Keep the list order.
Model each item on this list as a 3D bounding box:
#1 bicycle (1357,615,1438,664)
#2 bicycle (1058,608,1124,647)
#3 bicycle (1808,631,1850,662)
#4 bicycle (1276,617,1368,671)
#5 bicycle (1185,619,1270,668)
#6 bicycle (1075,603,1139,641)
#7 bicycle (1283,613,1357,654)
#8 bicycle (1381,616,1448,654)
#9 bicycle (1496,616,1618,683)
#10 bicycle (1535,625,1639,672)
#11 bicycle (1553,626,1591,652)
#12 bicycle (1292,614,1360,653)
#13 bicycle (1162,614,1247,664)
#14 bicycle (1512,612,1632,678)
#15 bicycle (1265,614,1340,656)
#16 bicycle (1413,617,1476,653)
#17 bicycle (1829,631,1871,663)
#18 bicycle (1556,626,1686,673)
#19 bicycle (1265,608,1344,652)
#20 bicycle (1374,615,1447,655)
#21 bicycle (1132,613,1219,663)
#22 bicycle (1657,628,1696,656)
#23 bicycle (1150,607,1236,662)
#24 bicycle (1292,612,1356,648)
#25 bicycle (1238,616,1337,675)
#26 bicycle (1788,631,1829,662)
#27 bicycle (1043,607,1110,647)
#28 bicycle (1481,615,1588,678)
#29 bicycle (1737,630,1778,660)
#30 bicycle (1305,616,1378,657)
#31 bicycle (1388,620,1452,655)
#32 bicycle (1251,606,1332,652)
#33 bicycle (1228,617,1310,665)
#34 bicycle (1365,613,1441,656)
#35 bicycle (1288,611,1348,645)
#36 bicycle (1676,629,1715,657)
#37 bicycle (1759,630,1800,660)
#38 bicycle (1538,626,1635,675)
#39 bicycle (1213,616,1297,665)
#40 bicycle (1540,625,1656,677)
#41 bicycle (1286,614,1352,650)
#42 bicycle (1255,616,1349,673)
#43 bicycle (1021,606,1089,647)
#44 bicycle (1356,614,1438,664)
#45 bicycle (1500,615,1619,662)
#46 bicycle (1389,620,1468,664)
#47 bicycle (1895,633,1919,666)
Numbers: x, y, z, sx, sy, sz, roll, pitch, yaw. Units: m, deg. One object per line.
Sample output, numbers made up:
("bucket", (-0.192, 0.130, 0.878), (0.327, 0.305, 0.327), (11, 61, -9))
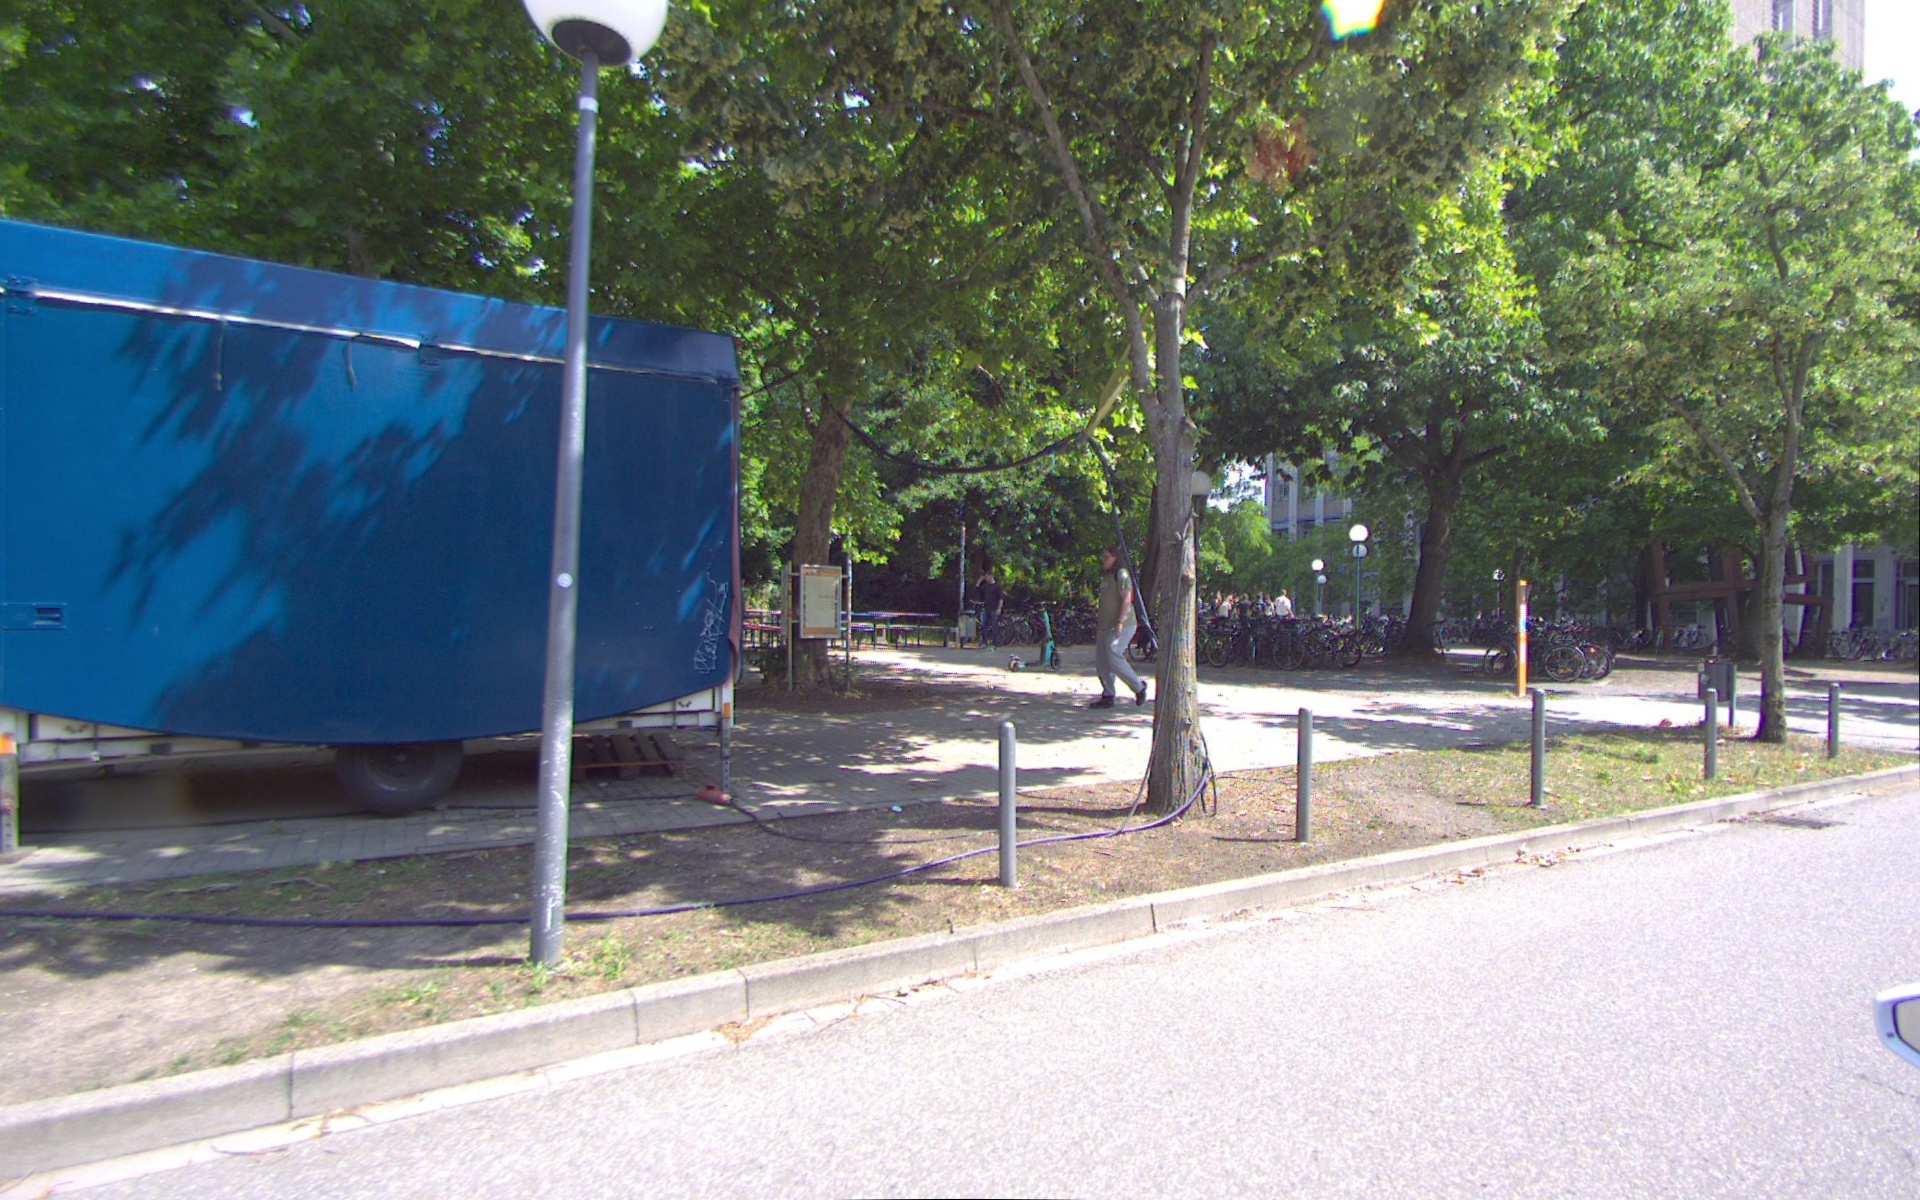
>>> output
("bicycle", (12.231, 1.091, 28.124), (2.021, 1.251, 0.639), (2, 2, 25))
("bicycle", (4.014, 0.834, 30.887), (1.927, 1.106, 0.595), (2, 0, 37))
("bicycle", (31.964, 1.712, 36.931), (1.950, 1.101, 0.549), (1, 1, -31))
("bicycle", (8.054, 0.953, 22.403), (1.832, 1.104, 0.545), (2, 1, 39))
("bicycle", (6.237, 0.992, 23.480), (0.533, 1.041, 1.944), (1, 1, -41))
("bicycle", (4.643, 0.692, 31.871), (1.927, 1.106, 0.595), (2, 0, 37))
("bicycle", (10.437, 0.964, 29.178), (1.932, 1.104, 0.546), (2, 1, 31))
("bicycle", (15.659, 1.189, 34.611), (2.021, 1.147, 0.639), (4, 2, 24))
("bicycle", (12.362, 0.987, 20.839), (2.031, 1.251, 0.804), (2, 1, 42))
("bicycle", (15.361, 1.171, 24.678), (2.115, 1.022, 0.677), (2, 1, 29))
("bicycle", (27.209, 1.735, 44.663), (1.950, 1.101, 0.549), (1, 1, -31))
("bicycle", (11.492, 1.040, 31.568), (1.932, 1.104, 0.546), (2, 1, 31))
("bicycle", (5.597, 0.879, 23.071), (0.533, 1.041, 1.944), (1, 1, -41))
("bicycle", (13.070, 0.930, 21.485), (2.031, 1.251, 0.804), (4, 2, 42))
("bicycle", (9.722, 0.985, 28.576), (1.932, 1.104, 0.546), (2, 1, 31))
("bicycle", (17.936, 1.275, 37.237), (2.021, 1.147, 0.639), (4, 2, 25))
("bicycle", (32.290, 1.711, 36.421), (1.950, 1.101, 0.549), (1, 1, -31))
("bicycle", (17.350, 1.285, 26.456), (2.696, 1.101, 0.883), (1, 1, 17))
("bicycle", (9.334, 0.804, 27.265), (1.939, 1.104, 0.544), (2, 1, 43))
("bicycle", (14.031, 1.077, 31.328), (2.021, 1.148, 0.639), (2, 1, 25))
("bicycle", (4.748, 0.826, 22.287), (0.533, 1.017, 1.944), (1, 1, -41))
("bicycle", (29.548, 1.740, 41.410), (1.950, 1.101, 0.549), (1, 1, -31))
("bicycle", (5.224, 0.753, 22.647), (0.533, 1.141, 1.944), (1, 1, -41))
("bicycle", (12.223, 0.999, 33.768), (1.932, 1.104, 0.546), (2, 1, 31))
("bicycle", (6.690, 0.907, 20.560), (1.832, 1.104, 0.545), (2, 1, 39))
("bicycle", (31.746, 1.721, 37.559), (1.950, 1.101, 0.549), (1, 1, -31))
("bicycle", (3.458, 0.803, 29.989), (1.927, 1.106, 0.595), (2, 0, 37))
("bicycle", (11.254, 0.889, 19.713), (1.753, 1.147, 0.456), (2, 1, 42))
("bicycle", (30.779, 1.715, 38.770), (1.950, 1.101, 0.549), (1, 1, -31))
("bicycle", (11.352, 1.072, 29.922), (1.932, 1.104, 0.546), (2, 1, 31))
("bicycle", (16.168, 1.306, 35.338), (2.021, 1.148, 0.639), (1, 1, 25))
("bicycle", (8.686, 0.751, 26.360), (1.939, 1.104, 0.544), (2, 1, 43))
("bicycle", (7.871, 1.026, 25.653), (1.939, 1.104, 0.544), (2, 1, 43))
("bicycle", (13.168, 1.015, 29.916), (2.021, 1.173, 0.639), (1, 1, 25))
("bicycle", (13.096, 1.012, 36.760), (2.021, 1.148, 0.639), (1, 1, 25))
("bicycle", (29.752, 1.725, 40.620), (1.950, 1.101, 0.549), (1, 1, -31))
("bicycle", (31.139, 1.713, 38.172), (1.950, 1.101, 0.549), (1, 1, -31))
("bicycle", (14.531, 1.163, 23.348), (1.858, 1.022, 0.676), (2, 1, 30))
("bicycle", (7.271, 0.969, 24.833), (1.939, 1.104, 0.534), (2, 1, 42))
("bicycle", (14.128, 1.106, 22.330), (2.115, 1.022, 0.676), (2, 1, 30))
("bicycle", (11.668, 1.028, 32.643), (1.932, 1.104, 0.546), (2, 1, 31))
("bicycle", (7.326, 0.929, 21.563), (1.832, 1.104, 0.545), (2, 1, 39))
("bicycle", (2.777, 0.760, 29.432), (1.927, 1.106, 0.595), (2, 0, 37))
("bicycle", (11.951, 1.046, 27.511), (2.021, 1.251, 0.639), (2, 1, 25))
("bicycle", (17.590, 1.119, 29.576), (2.850, 1.237, 0.883), (1, 1, 17))
("bicycle", (13.408, 1.198, 28.801), (2.021, 1.148, 0.639), (2, 1, 25))
("bicycle", (33.484, 1.725, 35.151), (1.950, 1.101, 0.549), (1, 1, -31))
